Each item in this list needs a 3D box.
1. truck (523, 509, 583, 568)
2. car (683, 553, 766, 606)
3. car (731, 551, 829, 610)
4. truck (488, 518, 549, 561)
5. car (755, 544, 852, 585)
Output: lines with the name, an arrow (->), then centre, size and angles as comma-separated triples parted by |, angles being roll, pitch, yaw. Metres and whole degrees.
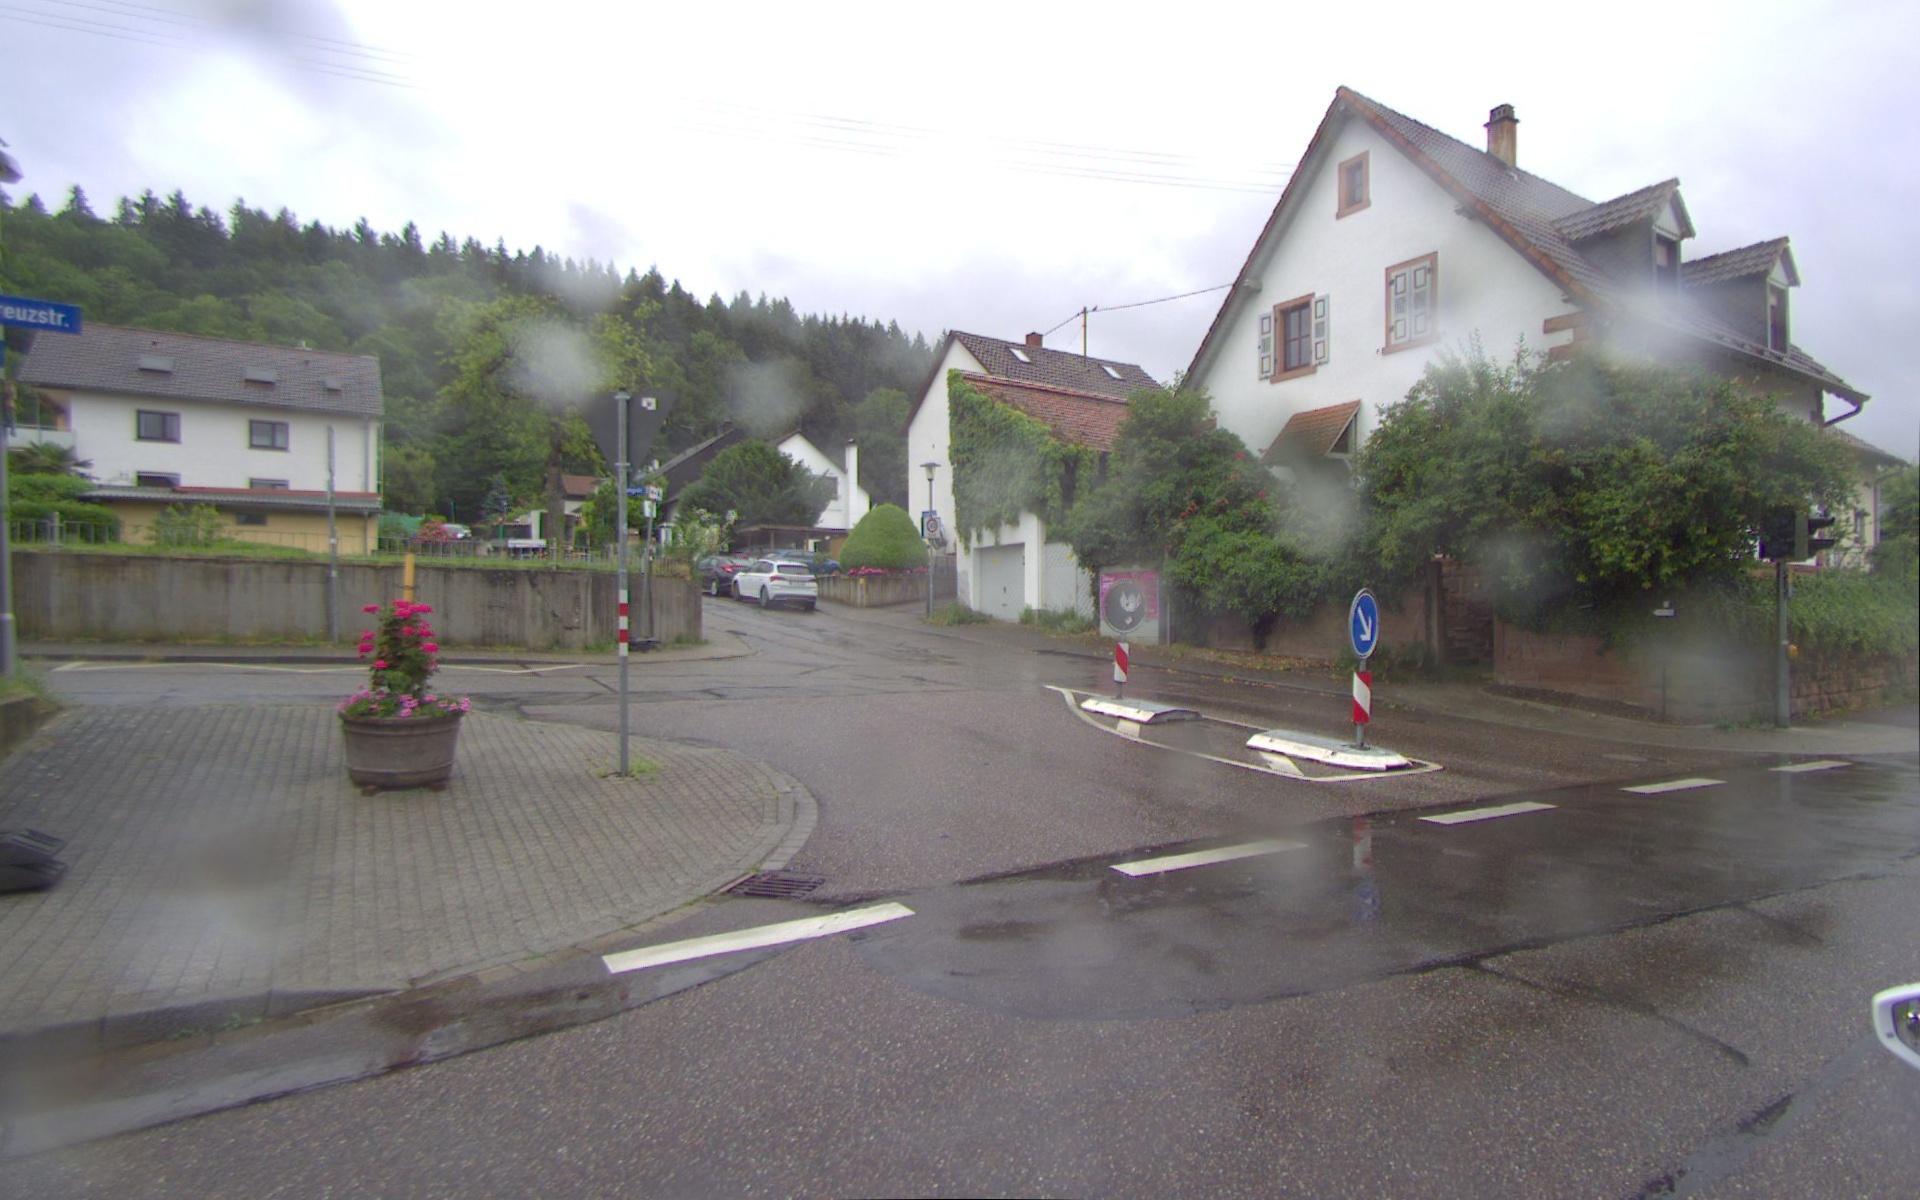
truck -> -25.562, -3.831, 62.970 | 2.425, 3.397, 6.600 | 1, 2, -31
car -> -8.813, -0.795, 37.417 | 1.879, 1.535, 3.857 | 2, 6, -31
car -> -6.012, -0.677, 33.266 | 1.879, 1.535, 3.857 | 2, 6, -31
truck -> -24.832, -3.345, 56.346 | 2.275, 2.155, 6.026 | 1, 2, -32
car -> -7.081, -1.581, 45.430 | 3.849, 1.534, 1.883 | 2, 6, -33
